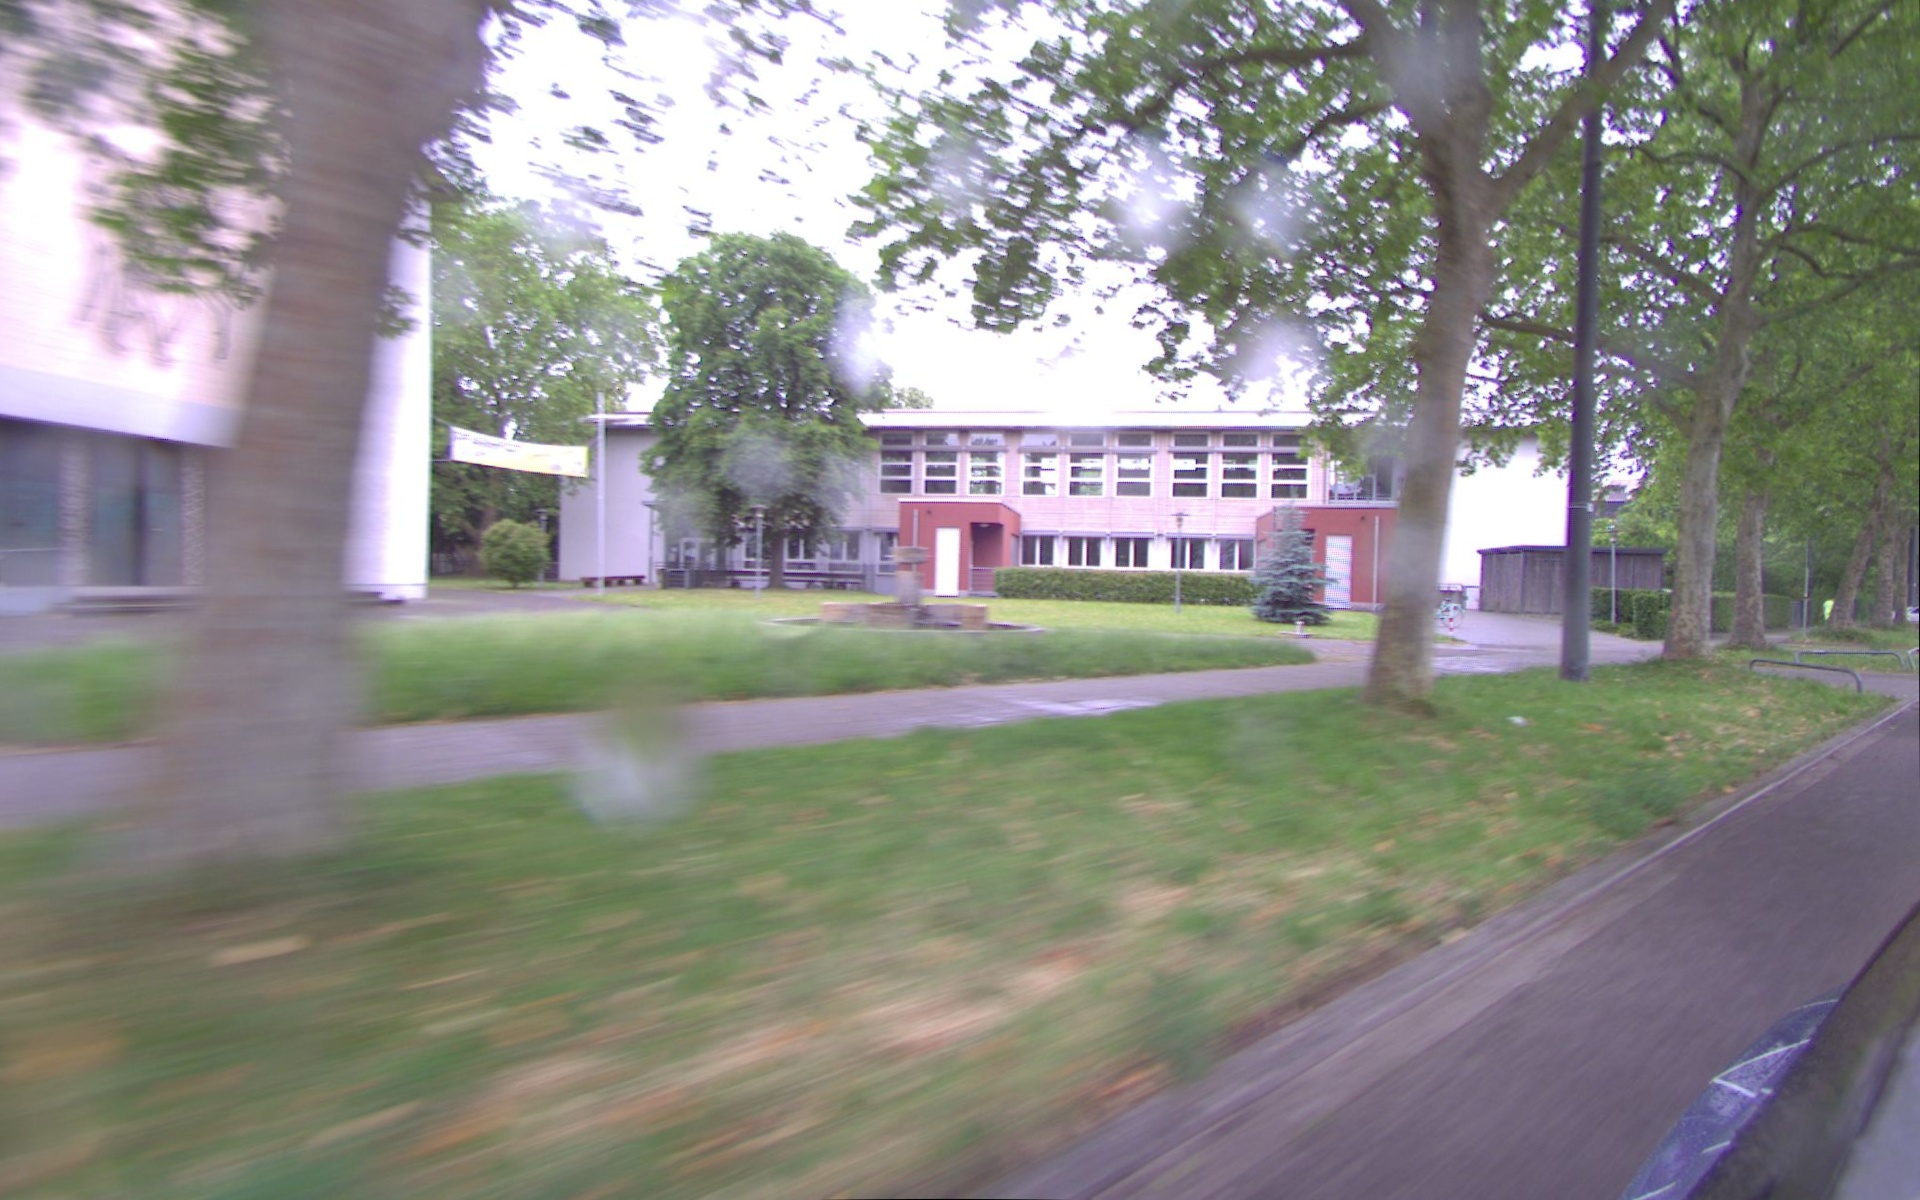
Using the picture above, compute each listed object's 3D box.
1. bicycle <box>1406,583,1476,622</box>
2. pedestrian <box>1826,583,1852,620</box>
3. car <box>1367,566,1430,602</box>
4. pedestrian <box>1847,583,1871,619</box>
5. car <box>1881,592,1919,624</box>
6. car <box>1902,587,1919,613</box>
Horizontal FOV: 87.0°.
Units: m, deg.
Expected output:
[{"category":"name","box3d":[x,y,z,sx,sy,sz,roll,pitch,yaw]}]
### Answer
[{"category":"bicycle","box3d":[15.308,0.081,32.217,1.902,1.135,0.521,2,3,2]},{"category":"pedestrian","box3d":[38.092,0.068,43.851,0.575,1.557,0.747,0,2,-42]},{"category":"car","box3d":[19.067,-0.724,44.145,1.722,1.469,3.572,0,2,11]},{"category":"pedestrian","box3d":[39.813,0.054,44.835,0.745,1.557,0.577,3,2,41]},{"category":"car","box3d":[48.241,0.435,49.809,3.983,1.505,1.622,3,2,30]},{"category":"car","box3d":[56.397,0.063,57.391,3.983,1.505,1.622,3,2,30]}]
